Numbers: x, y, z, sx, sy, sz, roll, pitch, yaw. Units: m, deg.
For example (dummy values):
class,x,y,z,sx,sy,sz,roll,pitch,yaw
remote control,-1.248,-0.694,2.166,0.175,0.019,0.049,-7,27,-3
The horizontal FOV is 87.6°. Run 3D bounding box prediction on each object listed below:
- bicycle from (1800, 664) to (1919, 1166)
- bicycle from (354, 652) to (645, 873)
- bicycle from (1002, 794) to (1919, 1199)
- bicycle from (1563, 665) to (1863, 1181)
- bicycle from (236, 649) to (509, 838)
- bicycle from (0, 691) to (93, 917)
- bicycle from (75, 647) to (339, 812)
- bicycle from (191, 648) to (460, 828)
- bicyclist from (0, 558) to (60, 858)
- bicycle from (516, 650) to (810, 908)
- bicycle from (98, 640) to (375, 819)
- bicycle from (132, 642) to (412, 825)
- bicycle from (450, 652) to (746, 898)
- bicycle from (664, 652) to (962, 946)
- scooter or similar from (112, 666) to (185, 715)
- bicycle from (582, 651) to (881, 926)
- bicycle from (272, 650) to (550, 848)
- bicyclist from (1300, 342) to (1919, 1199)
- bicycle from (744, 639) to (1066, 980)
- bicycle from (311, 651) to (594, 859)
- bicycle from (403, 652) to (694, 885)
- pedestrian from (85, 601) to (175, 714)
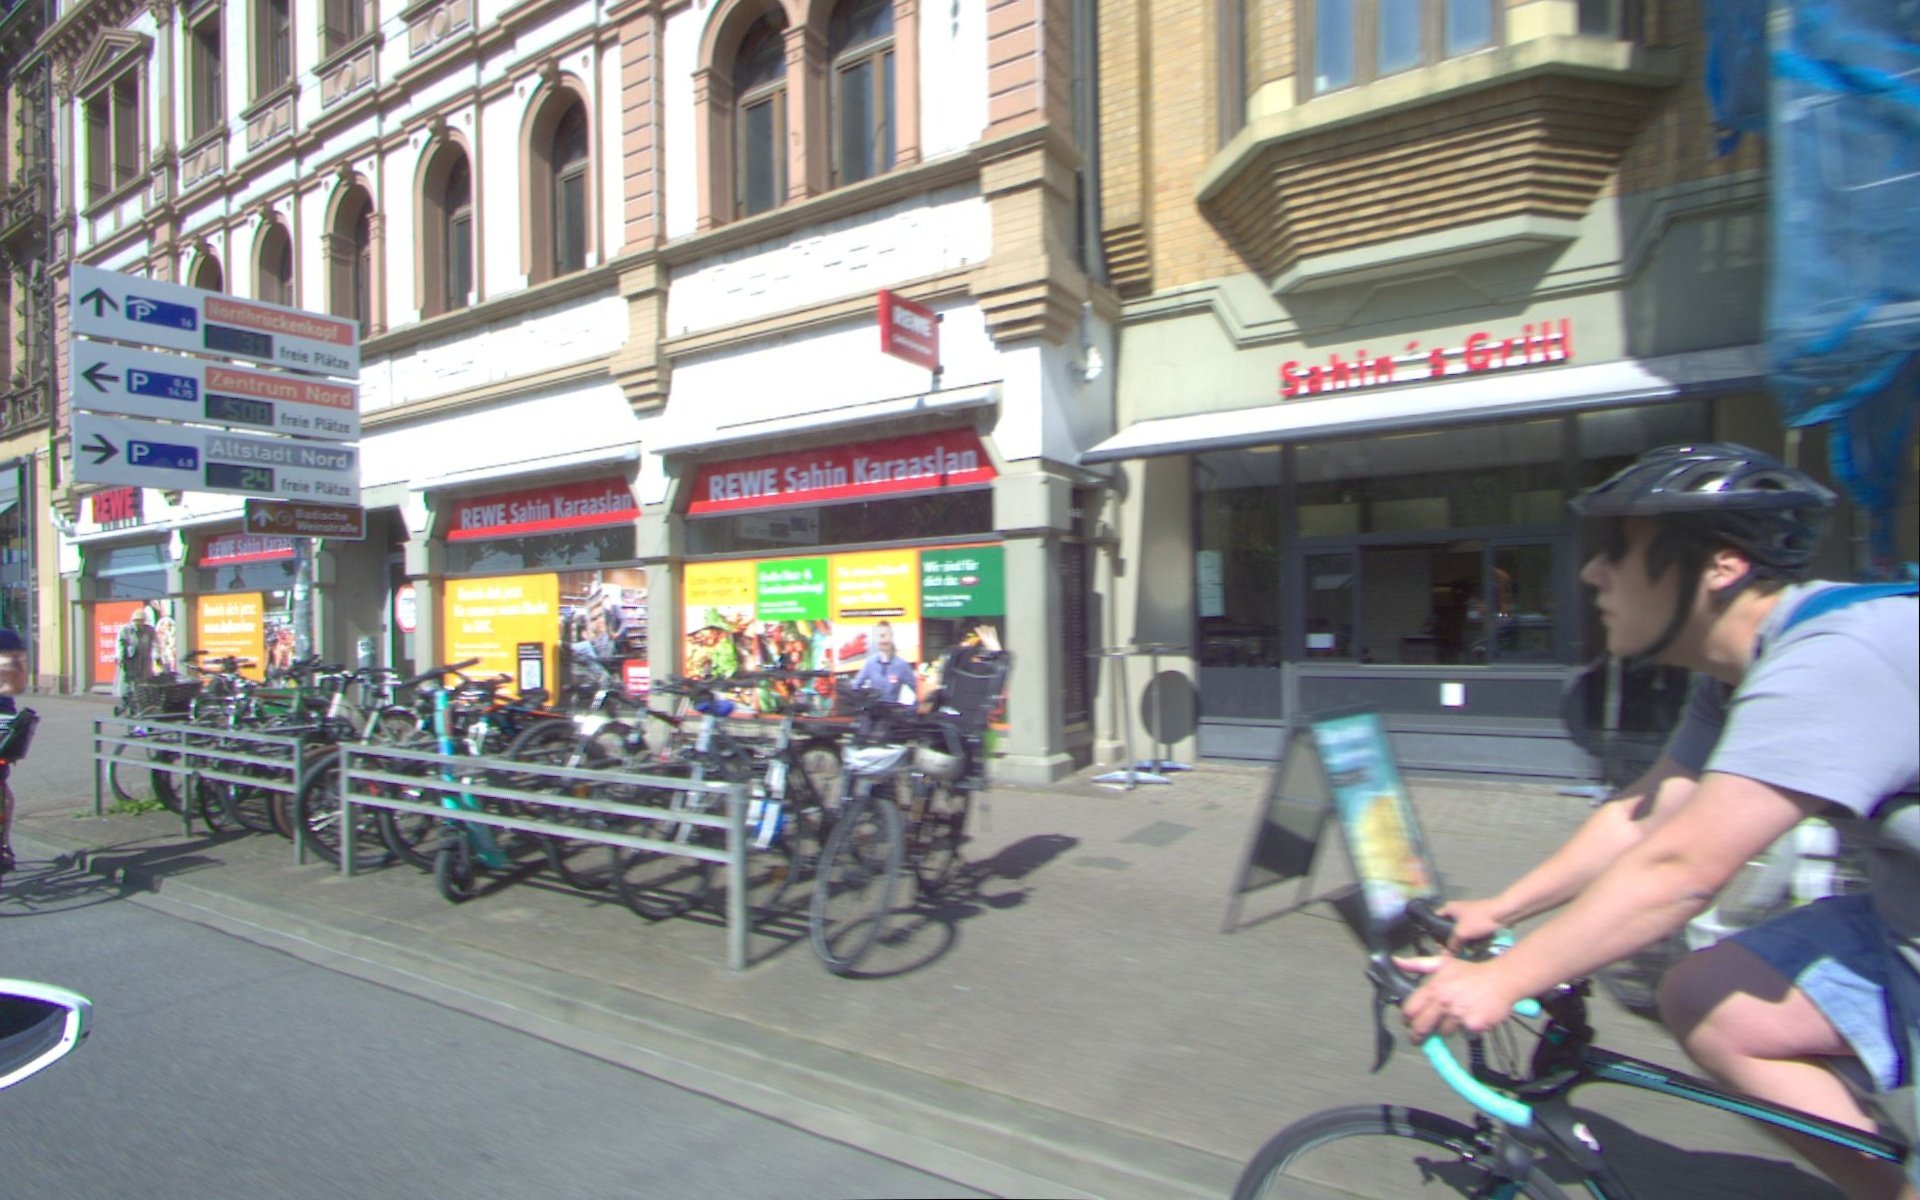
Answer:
class,x,y,z,sx,sy,sz,roll,pitch,yaw
bicycle,2.983,0.806,2.901,0.600,1.193,1.690,-1,-2,33
bicycle,-2.860,0.944,6.402,0.506,1.193,1.690,-1,-2,33
bicycle,1.151,0.959,1.442,2.100,1.106,0.733,-2,-3,31
bicycle,2.369,0.833,3.297,0.600,1.193,1.690,-1,-2,33
bicycle,-4.193,0.962,7.284,0.463,1.193,1.690,-1,-2,32
bicycle,-5.717,1.090,5.617,1.883,1.106,0.733,-2,-3,31
bicycle,-6.334,1.028,8.517,0.600,1.194,1.689,0,0,33
bicycle,-4.726,0.968,7.587,0.463,1.193,1.690,-1,-2,32
bicyclist,-5.684,0.594,5.617,0.905,1.636,0.687,-1,-2,31
bicycle,-1.563,0.883,5.559,0.445,1.193,1.690,-1,-2,33
bicycle,-5.821,0.980,8.163,0.600,1.195,1.689,0,2,33
bicycle,-5.285,0.963,7.804,0.600,1.194,1.689,0,0,33
bicycle,-2.009,0.909,5.802,0.457,1.193,1.690,-1,-2,33
bicycle,-0.652,0.867,5.004,0.490,1.193,1.690,-1,-2,33
scooter or similar,-12.499,1.382,15.427,0.557,0.659,0.689,-2,2,31
bicycle,-1.121,0.879,5.291,0.484,1.193,1.690,-1,-2,33
bicycle,-3.743,0.955,6.980,0.453,1.193,1.690,-1,-2,33
bicyclist,1.150,0.472,1.441,1.126,1.481,0.687,-1,-2,31
bicycle,-0.166,0.810,4.592,0.600,1.256,1.690,-1,-2,33
bicycle,-3.304,0.948,6.686,0.453,1.193,1.690,-1,-2,33
bicycle,-2.416,0.928,6.096,0.451,1.193,1.690,-1,-2,33
pedestrian,-12.976,0.883,15.659,0.825,1.678,0.753,-2,2,32
